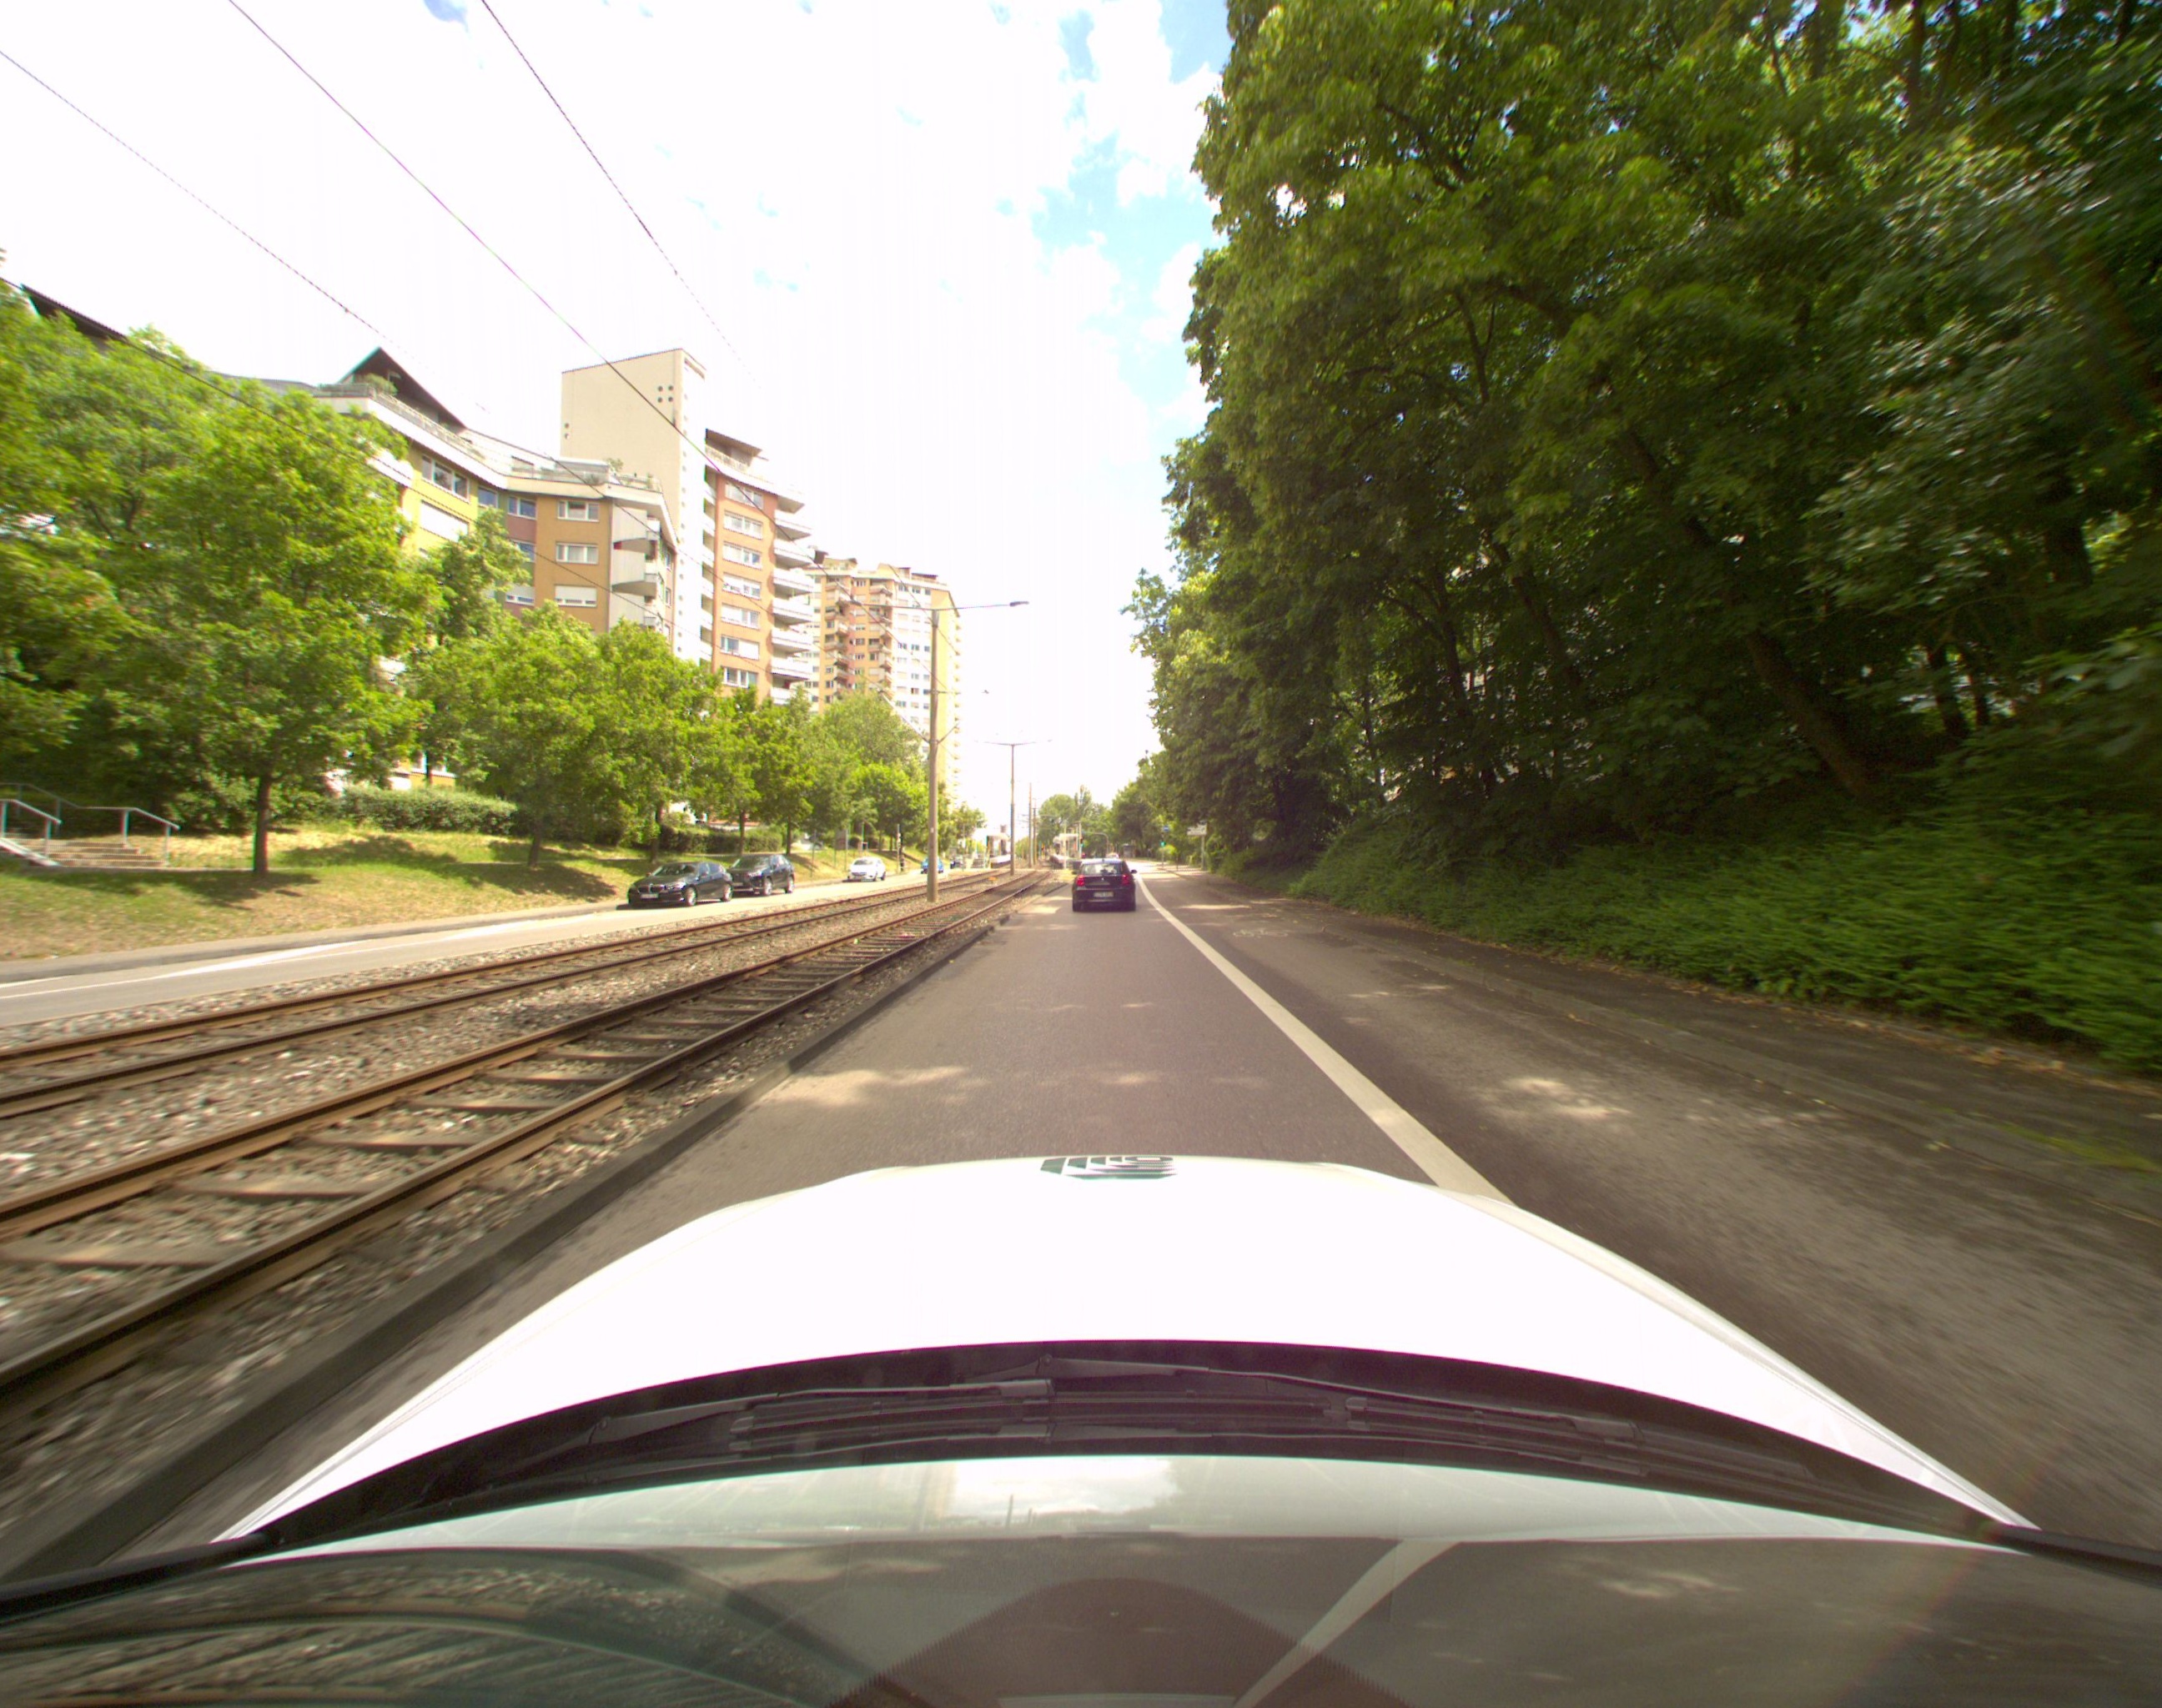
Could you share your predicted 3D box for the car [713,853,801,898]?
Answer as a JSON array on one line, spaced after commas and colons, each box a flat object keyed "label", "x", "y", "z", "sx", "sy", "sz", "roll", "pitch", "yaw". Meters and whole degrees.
[{"label": "car", "x": -12.910, "y": 0.831, "z": 32.777, "sx": 1.769, "sy": 1.630, "sz": 4.381, "roll": -2, "pitch": -1, "yaw": 0}]

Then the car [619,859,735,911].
[{"label": "car", "x": -13.008, "y": 0.945, "z": 26.501, "sx": 1.769, "sy": 1.498, "sz": 3.996, "roll": -1, "pitch": 0, "yaw": 0}]

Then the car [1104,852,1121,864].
[{"label": "car", "x": 3.896, "y": 0.534, "z": 100.872, "sx": 1.776, "sy": 1.459, "sz": 3.919, "roll": -1, "pitch": 0, "yaw": -1}]

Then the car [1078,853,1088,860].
[{"label": "car", "x": 0.441, "y": 0.582, "z": 170.863, "sx": 1.905, "sy": 1.459, "sz": 3.997, "roll": -1, "pitch": 0, "yaw": -3}]

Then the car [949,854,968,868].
[{"label": "car", "x": -13.752, "y": 0.783, "z": 91.489, "sx": 1.711, "sy": 1.564, "sz": 3.695, "roll": -1, "pitch": 0, "yaw": -2}]

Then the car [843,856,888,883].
[{"label": "car", "x": -13.204, "y": 0.894, "z": 50.057, "sx": 1.777, "sy": 1.532, "sz": 4.239, "roll": -2, "pitch": 0, "yaw": -3}]

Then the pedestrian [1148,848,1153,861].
[{"label": "pedestrian", "x": 10.743, "y": 0.021, "z": 126.699, "sx": 0.737, "sy": 2.013, "sz": 0.682, "roll": -1, "pitch": 0, "yaw": 3}]

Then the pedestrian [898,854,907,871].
[{"label": "pedestrian", "x": -15.687, "y": 0.748, "z": 71.564, "sx": 0.770, "sy": 1.534, "sz": 0.713, "roll": -1, "pitch": 0, "yaw": -17}]

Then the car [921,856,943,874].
[{"label": "car", "x": -12.828, "y": 0.919, "z": 70.326, "sx": 1.715, "sy": 1.442, "sz": 3.931, "roll": -1, "pitch": 0, "yaw": -9}]

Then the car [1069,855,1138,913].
[{"label": "car", "x": 0.603, "y": 0.780, "z": 23.113, "sx": 1.775, "sy": 1.459, "sz": 3.921, "roll": -2, "pitch": 0, "yaw": 0}]
